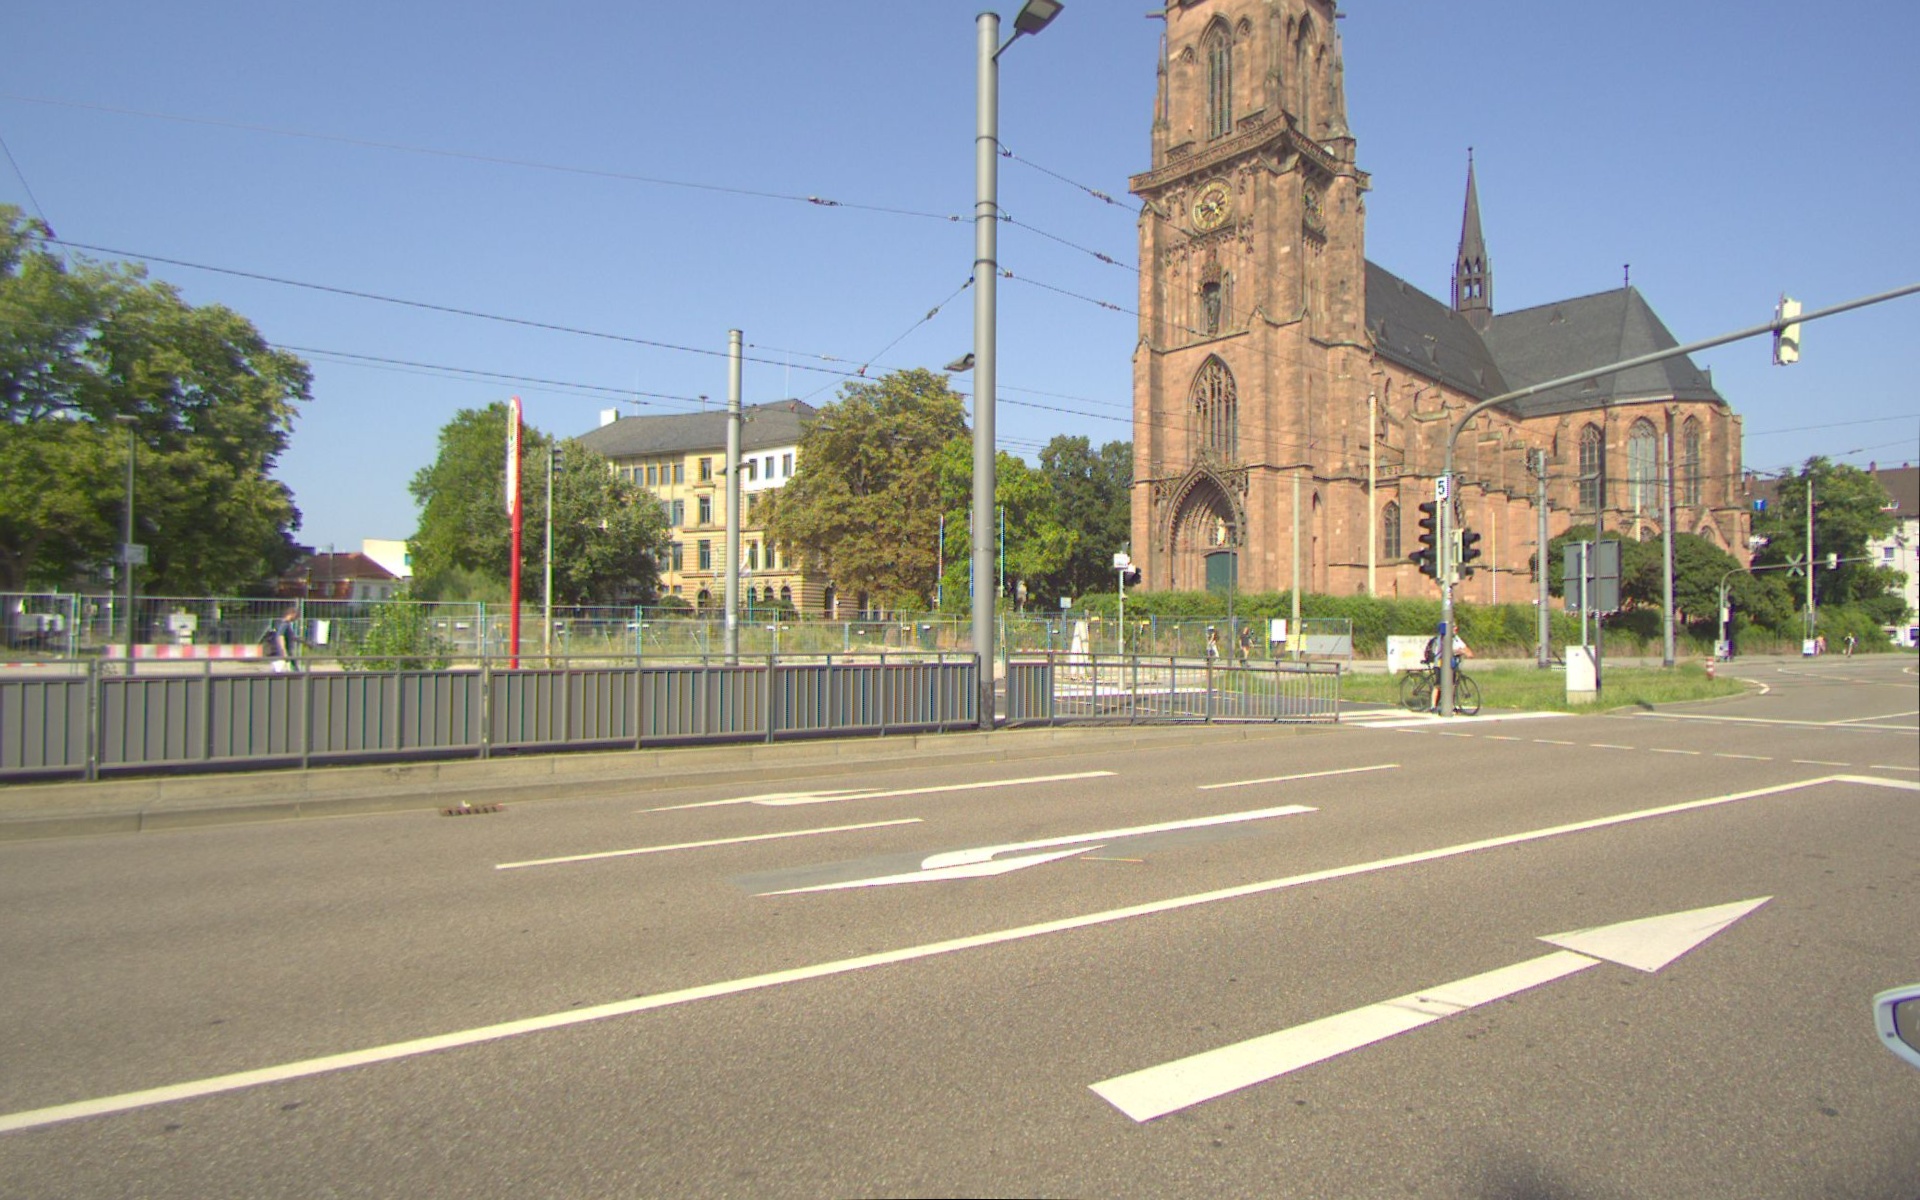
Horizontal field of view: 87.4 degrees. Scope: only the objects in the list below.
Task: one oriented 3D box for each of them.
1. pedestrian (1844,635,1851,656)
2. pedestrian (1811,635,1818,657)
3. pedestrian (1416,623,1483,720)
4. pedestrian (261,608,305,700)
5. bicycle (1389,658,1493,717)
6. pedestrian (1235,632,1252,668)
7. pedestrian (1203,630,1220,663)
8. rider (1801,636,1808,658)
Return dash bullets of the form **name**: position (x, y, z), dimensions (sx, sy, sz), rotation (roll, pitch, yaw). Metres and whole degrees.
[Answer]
- **pedestrian**: position (64.758, 3.339, 73.297), dimensions (0.337, 1.538, 0.302), rotation (1, -2, -35)
- **pedestrian**: position (62.502, 3.359, 73.475), dimensions (0.337, 1.538, 0.302), rotation (1, -2, -35)
- **pedestrian**: position (8.887, 1.277, 18.256), dimensions (0.595, 1.701, 0.912), rotation (1, -2, -31)
- **pedestrian**: position (-13.029, 1.034, 19.345), dimensions (0.657, 1.723, 0.514), rotation (1, -2, -32)
- **bicycle**: position (8.793, 1.582, 18.421), dimensions (0.474, 0.991, 1.749), rotation (1, -2, -32)
- **pedestrian**: position (12.507, 2.204, 44.266), dimensions (0.546, 1.596, 0.489), rotation (1, -2, -32)
- **pedestrian**: position (12.249, 2.239, 48.905), dimensions (0.534, 1.596, 0.659), rotation (-1, -2, 40)
- **rider**: position (57.058, 3.165, 67.844), dimensions (0.247, 1.450, 0.305), rotation (1, -2, -34)
